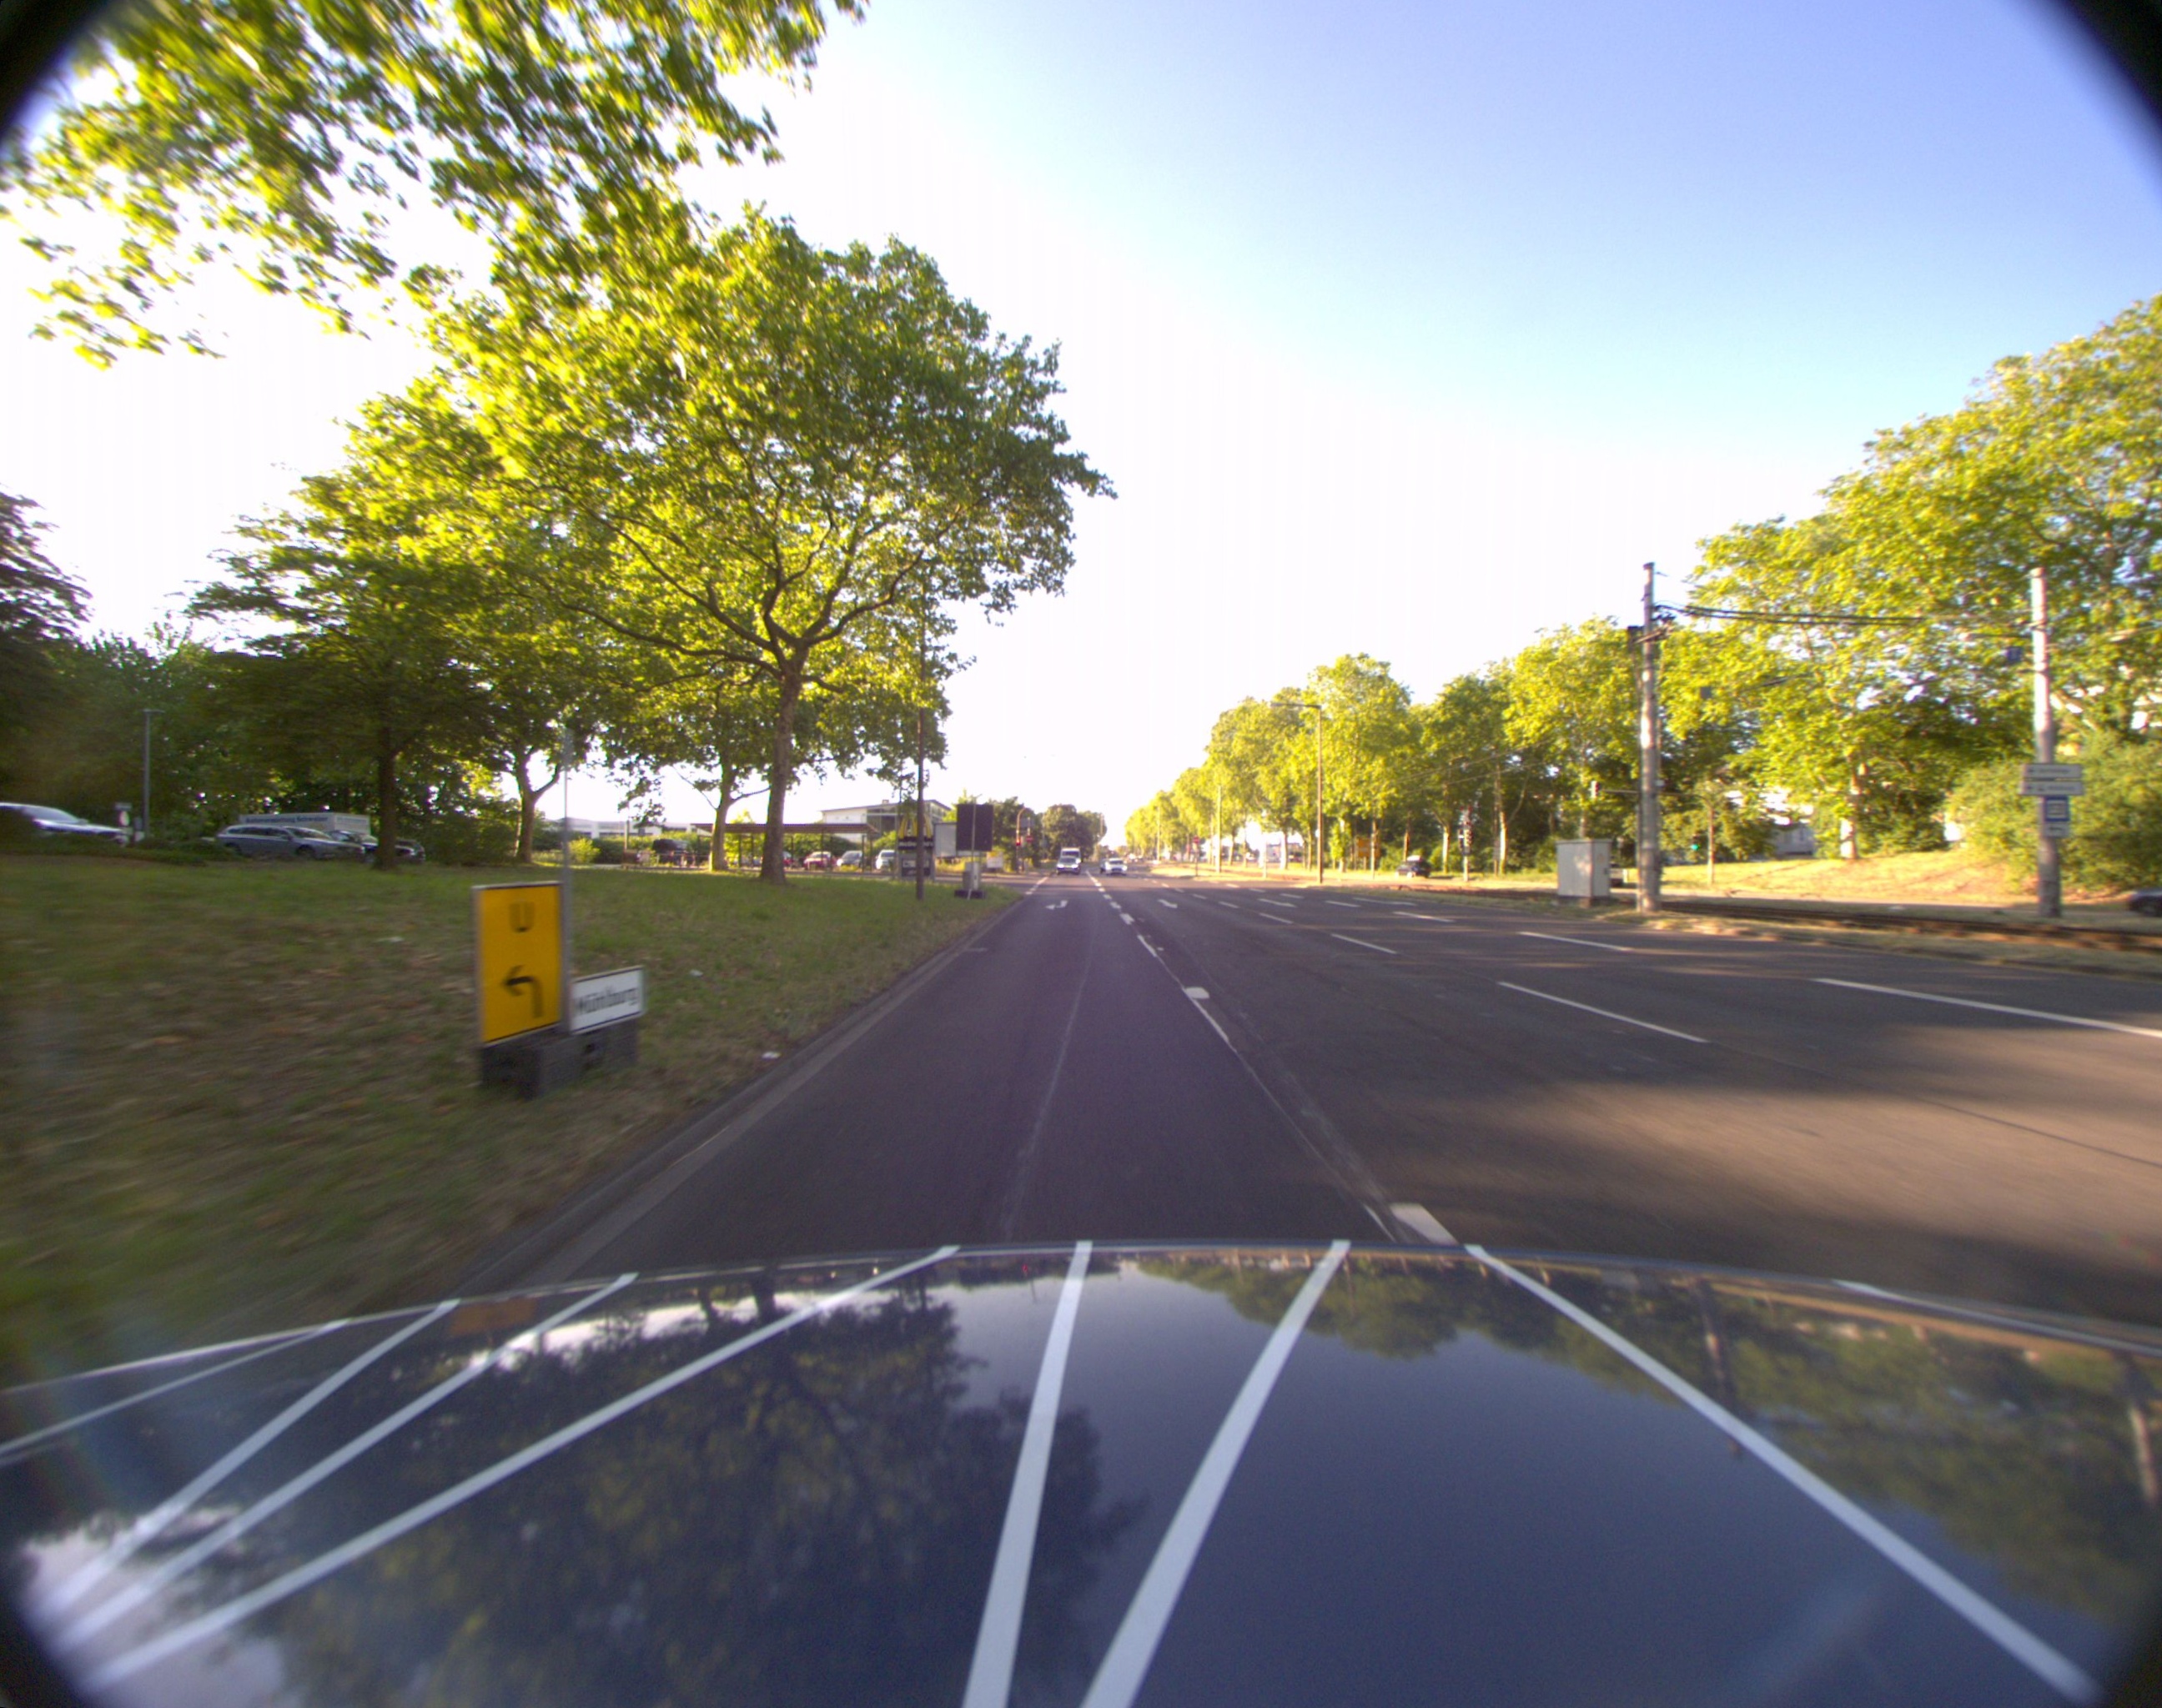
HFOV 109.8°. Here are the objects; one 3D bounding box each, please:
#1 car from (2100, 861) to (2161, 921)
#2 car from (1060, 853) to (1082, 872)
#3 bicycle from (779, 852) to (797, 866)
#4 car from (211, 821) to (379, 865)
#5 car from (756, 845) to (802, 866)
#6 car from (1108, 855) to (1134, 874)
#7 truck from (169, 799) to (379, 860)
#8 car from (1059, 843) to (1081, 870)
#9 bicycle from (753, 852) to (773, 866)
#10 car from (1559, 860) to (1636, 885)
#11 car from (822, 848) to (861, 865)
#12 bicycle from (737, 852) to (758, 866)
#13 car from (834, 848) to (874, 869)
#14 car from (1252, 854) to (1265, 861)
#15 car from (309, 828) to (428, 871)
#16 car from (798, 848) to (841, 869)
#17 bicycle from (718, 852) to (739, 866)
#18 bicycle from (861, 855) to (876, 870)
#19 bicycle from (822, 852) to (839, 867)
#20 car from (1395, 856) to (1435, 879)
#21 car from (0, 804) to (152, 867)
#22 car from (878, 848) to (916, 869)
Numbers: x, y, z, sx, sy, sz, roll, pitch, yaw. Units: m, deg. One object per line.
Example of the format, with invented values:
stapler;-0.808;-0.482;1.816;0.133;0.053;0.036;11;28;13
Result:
car;31.577;1.067;20.701;1.998;1.671;4.191;1;0;1
car;-0.872;0.716;67.013;1.875;1.608;4.547;1;0;-1
bicycle;-21.520;0.372;55.889;0.544;1.032;1.894;1;0;1
car;-30.410;-0.420;29.512;4.399;1.565;2.043;1;0;0
car;-24.932;0.116;62.846;2.119;1.639;4.320;1;0;-1
car;3.591;0.952;67.754;1.873;1.608;4.003;1;0;8
truck;-54.255;-1.598;51.264;11.088;3.853;3.195;1;0;3
car;-1.032;0.288;76.027;2.008;2.551;5.876;1;0;1
bicycle;-23.370;0.359;55.811;0.543;1.032;1.894;1;0;5
car;32.266;1.103;47.629;1.998;1.432;4.191;1;0;0
car;-23.943;0.253;76.041;2.117;1.627;4.003;1;0;9
bicycle;-24.550;0.383;55.914;0.543;1.032;1.894;1;0;5
car;-18.461;0.372;62.043;2.119;1.639;4.000;1;0;-1
car;36.124;0.662;154.708;1.629;1.433;3.985;1;0;0
car;-30.132;-0.170;32.203;3.500;1.720;1.680;1;0;2
car;-21.415;0.386;62.364;2.119;1.639;4.320;1;0;-1
bicycle;-26.096;0.341;56.224;0.543;1.032;1.894;1;0;5
bicycle;-15.522;0.624;55.600;0.544;1.032;1.894;1;0;1
bicycle;-18.466;0.389;56.055;0.544;1.032;1.894;1;0;1
car;31.513;1.232;71.780;1.998;2.054;4.191;1;0;1
car;-30.301;-0.537;21.924;4.893;1.696;2.001;1;0;5
car;-15.081;0.367;62.458;2.119;1.639;4.227;1;0;-1
